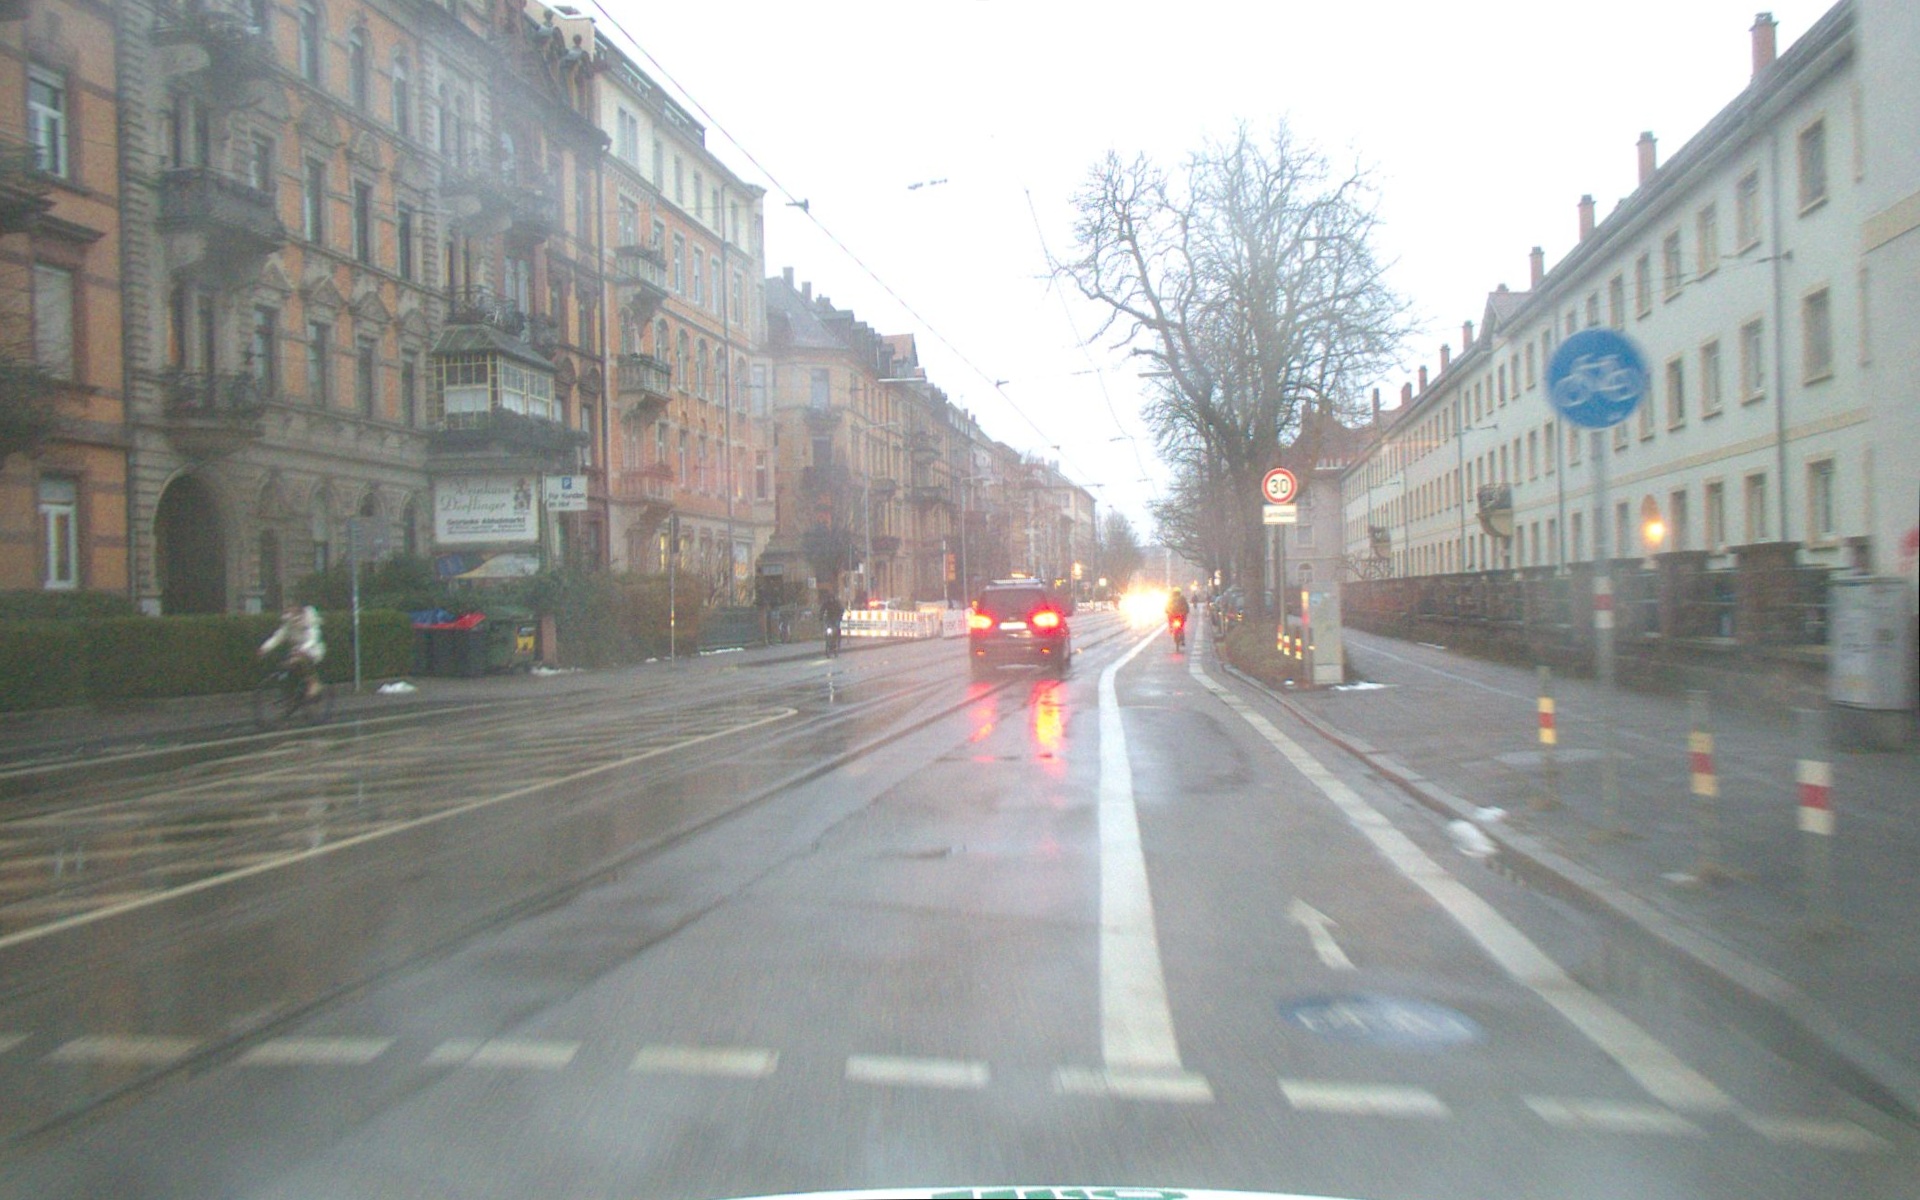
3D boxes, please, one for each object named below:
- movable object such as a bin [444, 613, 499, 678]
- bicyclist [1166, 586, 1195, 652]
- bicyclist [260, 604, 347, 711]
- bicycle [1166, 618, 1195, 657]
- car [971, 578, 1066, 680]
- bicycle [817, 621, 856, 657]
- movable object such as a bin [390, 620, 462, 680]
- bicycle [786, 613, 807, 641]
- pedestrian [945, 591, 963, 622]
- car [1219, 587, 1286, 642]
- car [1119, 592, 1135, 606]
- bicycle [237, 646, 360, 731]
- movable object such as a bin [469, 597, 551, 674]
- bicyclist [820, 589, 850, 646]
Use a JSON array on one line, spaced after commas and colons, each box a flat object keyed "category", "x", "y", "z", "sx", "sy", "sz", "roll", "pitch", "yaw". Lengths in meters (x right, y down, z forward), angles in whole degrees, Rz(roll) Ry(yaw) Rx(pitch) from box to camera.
[{"category": "movable object such as a bin", "x": -10.302, "y": 0.954, "z": 34.916, "sx": 0.876, "sy": 1.315, "sz": 0.747, "roll": -1, "pitch": 0, "yaw": 6}, {"category": "bicyclist", "x": 6.009, "y": 0.513, "z": 45.128, "sx": 0.715, "sy": 1.767, "sz": 0.766, "roll": -1, "pitch": 0, "yaw": 10}, {"category": "bicyclist", "x": -8.780, "y": 0.758, "z": 22.153, "sx": 0.689, "sy": 1.388, "sz": 0.945, "roll": 0, "pitch": 0, "yaw": 10}, {"category": "bicycle", "x": 6.033, "y": 1.018, "z": 45.192, "sx": 0.716, "sy": 1.024, "sz": 1.765, "roll": -1, "pitch": 0, "yaw": 10}, {"category": "car", "x": 1.240, "y": 0.534, "z": 33.287, "sx": 1.764, "sy": 1.903, "sz": 4.020, "roll": 1, "pitch": 0, "yaw": 4}, {"category": "bicycle", "x": -3.608, "y": 1.116, "z": 48.314, "sx": 0.664, "sy": 0.989, "sz": 1.935, "roll": -1, "pitch": 0, "yaw": 10}, {"category": "movable object such as a bin", "x": -11.343, "y": 1.059, "z": 35.151, "sx": 1.159, "sy": 1.228, "sz": 0.946, "roll": -1, "pitch": 0, "yaw": 6}, {"category": "bicycle", "x": -5.715, "y": 0.934, "z": 57.764, "sx": 0.257, "sy": 0.931, "sz": 1.687, "roll": 4, "pitch": 1, "yaw": 8}, {"category": "pedestrian", "x": -0.355, "y": 0.392, "z": 96.276, "sx": 0.711, "sy": 1.804, "sz": 0.762, "roll": -1, "pitch": 0, "yaw": -31}, {"category": "car", "x": 8.588, "y": 0.404, "z": 48.826, "sx": 1.747, "sy": 1.536, "sz": 3.991, "roll": -2, "pitch": 0, "yaw": 8}, {"category": "car", "x": 21.836, "y": -0.075, "z": 215.723, "sx": 1.882, "sy": 1.750, "sz": 4.003, "roll": -2, "pitch": 0, "yaw": 8}, {"category": "bicycle", "x": -8.800, "y": 1.159, "z": 22.088, "sx": 0.667, "sy": 1.024, "sz": 1.804, "roll": -1, "pitch": 0, "yaw": 10}, {"category": "movable object such as a bin", "x": -9.712, "y": 0.760, "z": 35.772, "sx": 1.217, "sy": 1.613, "sz": 1.309, "roll": -1, "pitch": 0, "yaw": 13}, {"category": "bicyclist", "x": -3.631, "y": 0.508, "z": 48.187, "sx": 0.669, "sy": 1.644, "sz": 0.766, "roll": -1, "pitch": 0, "yaw": 9}]
